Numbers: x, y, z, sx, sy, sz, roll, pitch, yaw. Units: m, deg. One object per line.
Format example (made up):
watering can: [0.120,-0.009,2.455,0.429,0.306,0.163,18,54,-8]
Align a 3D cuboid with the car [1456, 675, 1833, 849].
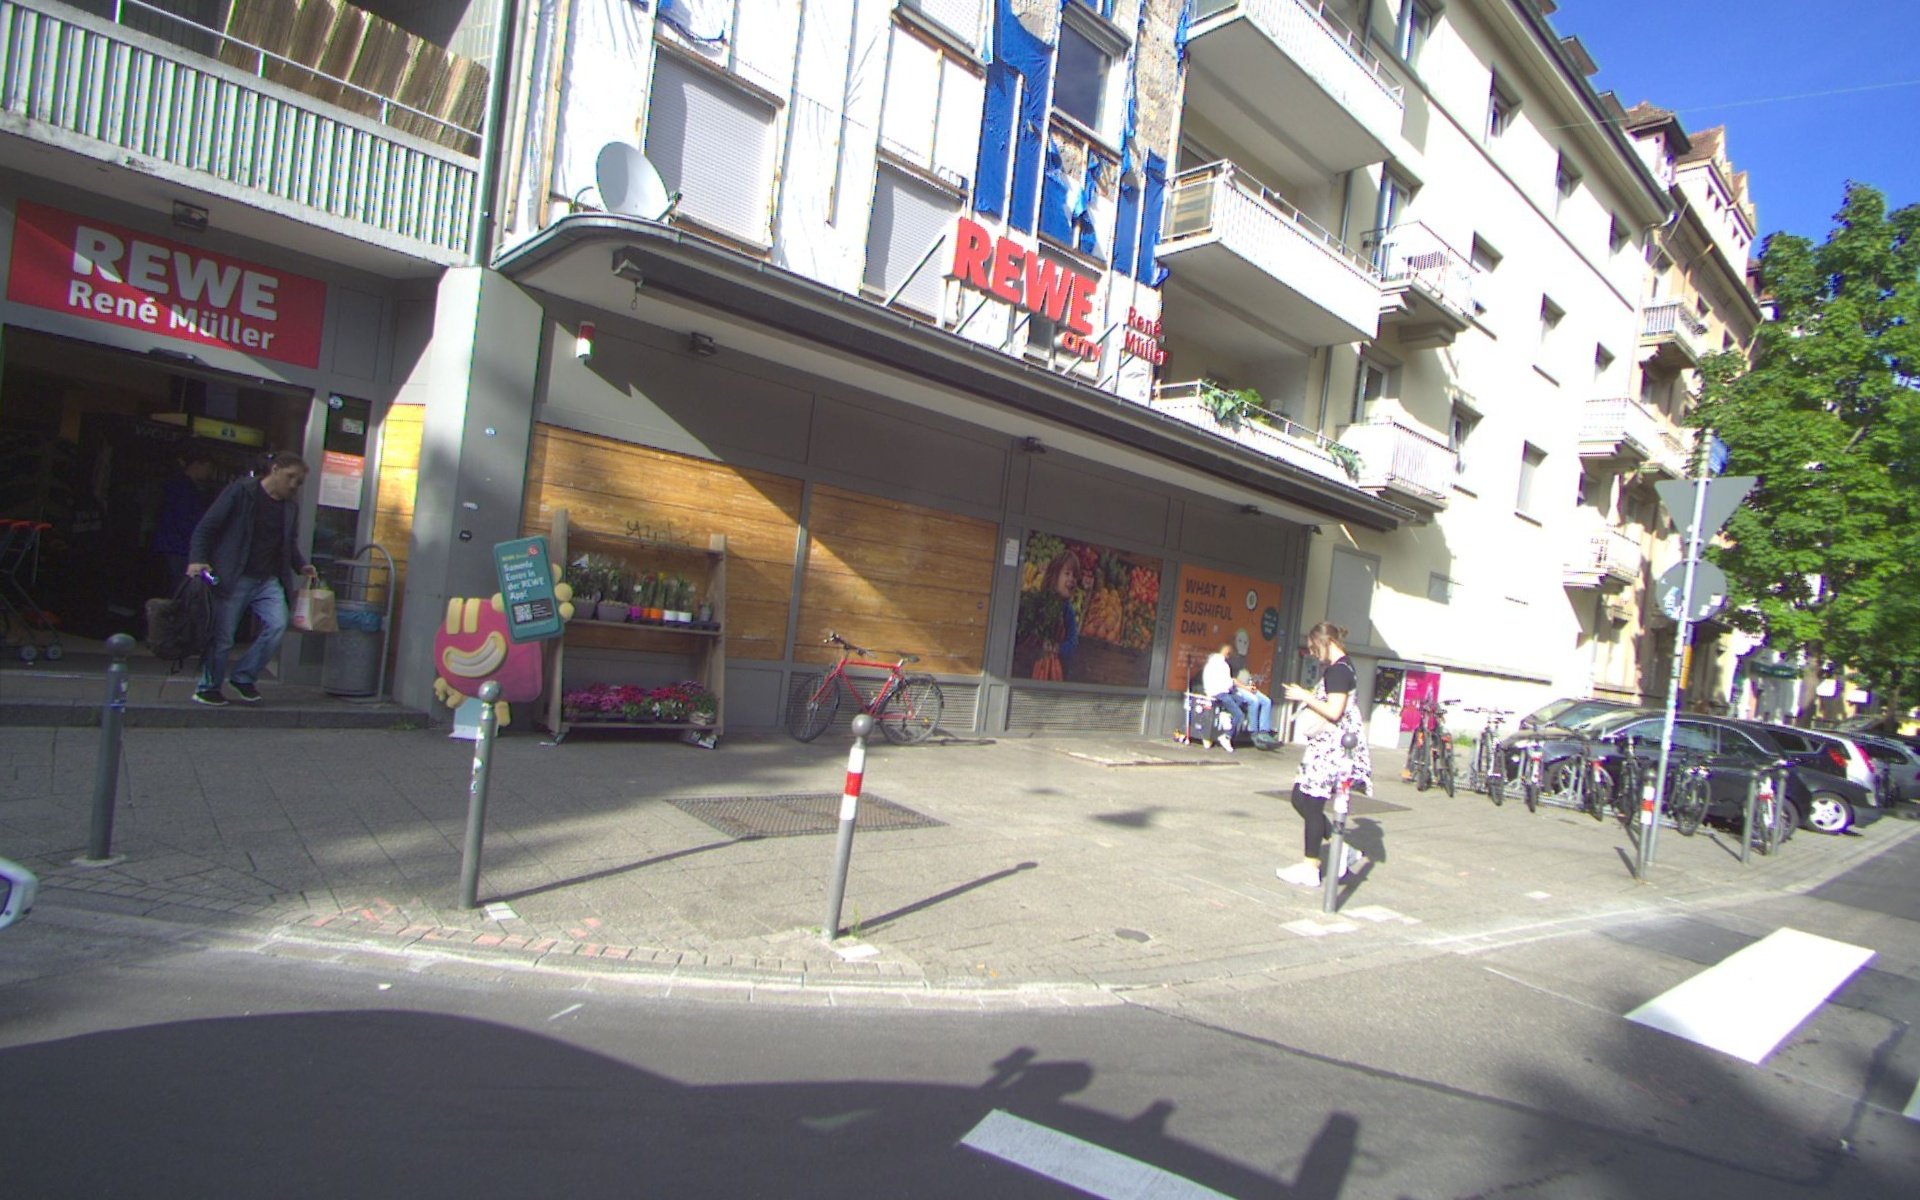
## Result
car: [9.279,2.130,14.095,3.927,1.474,1.809,9,2,23]

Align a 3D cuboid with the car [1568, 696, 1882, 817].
car: [15.041,3.023,20.115,4.544,1.451,1.751,8,0,21]

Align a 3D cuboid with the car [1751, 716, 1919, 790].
car: [27.290,4.702,30.658,4.544,1.513,1.751,8,0,21]

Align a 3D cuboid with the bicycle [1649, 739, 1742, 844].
bicycle: [8.798,2.255,12.075,0.484,1.014,1.422,8,0,24]

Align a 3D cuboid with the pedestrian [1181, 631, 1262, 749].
pedestrian: [3.639,1.255,13.990,0.659,1.524,0.749,7,1,43]

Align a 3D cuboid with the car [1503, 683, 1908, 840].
car: [11.442,2.430,15.851,4.577,1.472,1.958,8,0,14]

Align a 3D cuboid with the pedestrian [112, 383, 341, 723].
pedestrian: [-4.874,-0.277,6.721,1.025,2.040,0.854,6,3,-38]

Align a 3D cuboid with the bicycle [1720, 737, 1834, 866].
bicycle: [9.398,2.269,11.633,0.406,1.190,1.852,8,0,24]

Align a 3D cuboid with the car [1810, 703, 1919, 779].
car: [34.301,5.260,36.383,4.720,2.247,2.149,8,0,17]

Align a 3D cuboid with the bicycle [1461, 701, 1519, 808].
bicycle: [6.574,1.881,12.531,0.414,1.100,1.696,8,1,25]

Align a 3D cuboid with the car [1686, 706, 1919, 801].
car: [21.595,3.870,25.662,4.544,1.513,1.751,8,0,21]

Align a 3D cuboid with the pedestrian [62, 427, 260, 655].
pedestrian: [-6.867,-0.480,8.692,0.913,1.775,0.765,7,1,-2]

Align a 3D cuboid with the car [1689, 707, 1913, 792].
car: [24.325,4.287,29.310,4.544,1.513,1.751,8,0,21]

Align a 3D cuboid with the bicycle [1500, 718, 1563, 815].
bicycle: [6.959,1.984,12.223,0.407,1.031,1.498,8,0,35]

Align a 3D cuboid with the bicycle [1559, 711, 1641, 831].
bicycle: [7.645,1.999,12.068,0.406,1.190,1.852,8,0,24]

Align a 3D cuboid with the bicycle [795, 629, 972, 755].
bicycle: [-0.732,0.905,9.809,1.520,1.046,0.578,7,1,-32]

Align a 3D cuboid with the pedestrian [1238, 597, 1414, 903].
pedestrian: [2.381,0.931,6.550,0.827,1.775,0.613,7,1,23]

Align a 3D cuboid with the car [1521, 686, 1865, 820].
car: [12.943,2.661,18.101,4.542,1.451,1.752,8,0,14]

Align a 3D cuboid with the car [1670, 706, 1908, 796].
car: [22.390,4.040,27.404,4.544,1.513,1.751,8,0,21]

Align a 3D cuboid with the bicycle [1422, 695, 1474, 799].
bicycle: [6.135,1.812,12.691,0.414,1.100,1.696,8,1,25]

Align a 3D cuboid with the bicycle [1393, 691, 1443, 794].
bicycle: [5.852,1.778,12.849,0.414,1.100,1.696,8,1,25]

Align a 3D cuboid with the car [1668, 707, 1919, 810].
car: [19.627,3.661,23.545,4.544,1.513,1.751,8,0,21]

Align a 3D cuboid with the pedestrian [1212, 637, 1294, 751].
pedestrian: [4.216,1.352,14.480,0.664,1.524,0.744,6,1,-45]

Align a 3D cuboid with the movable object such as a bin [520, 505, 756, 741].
movable object such as a bin: [-2.651,0.229,8.373,1.540,1.777,0.682,7,2,-44]

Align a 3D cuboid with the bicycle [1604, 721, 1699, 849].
bicycle: [7.807,2.040,11.425,0.406,1.190,1.852,8,0,24]
